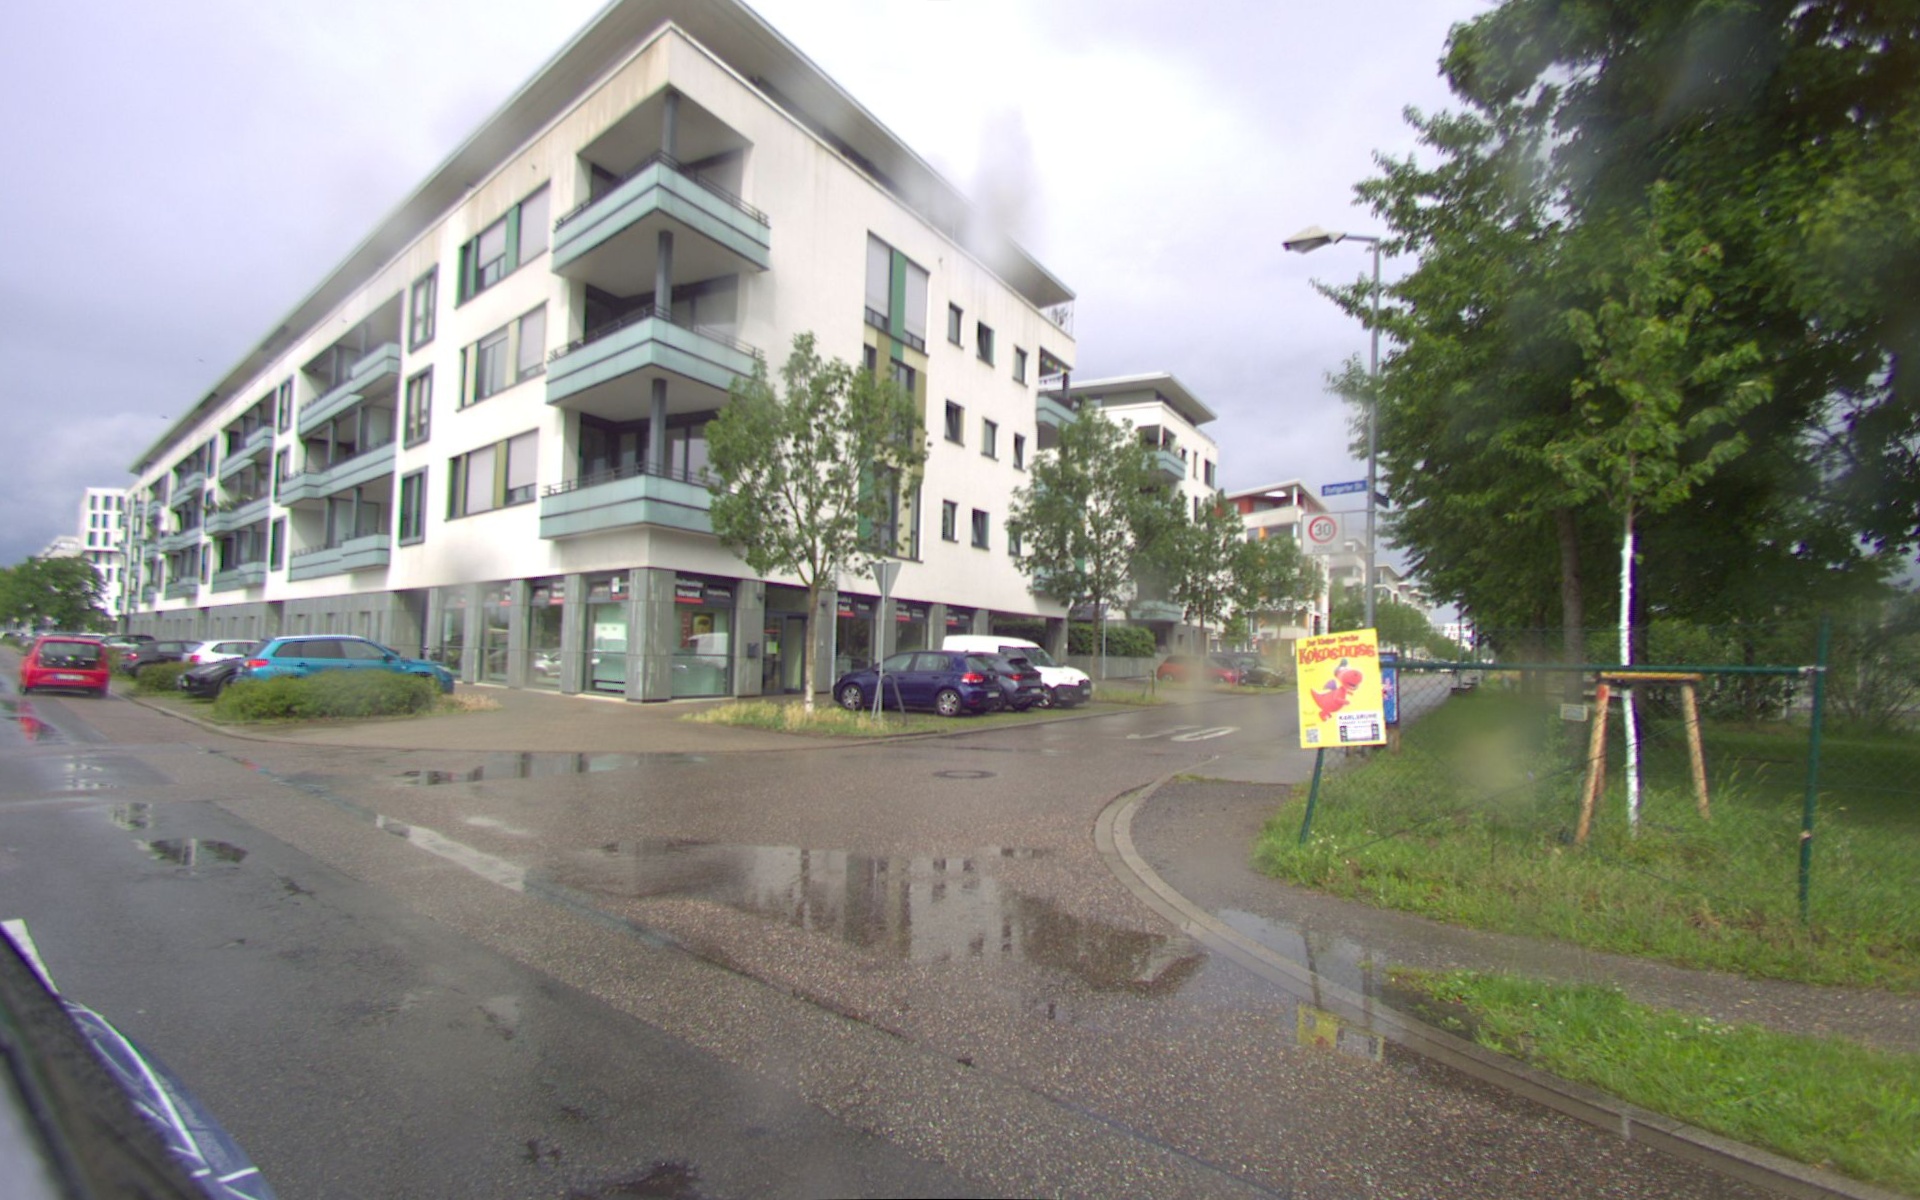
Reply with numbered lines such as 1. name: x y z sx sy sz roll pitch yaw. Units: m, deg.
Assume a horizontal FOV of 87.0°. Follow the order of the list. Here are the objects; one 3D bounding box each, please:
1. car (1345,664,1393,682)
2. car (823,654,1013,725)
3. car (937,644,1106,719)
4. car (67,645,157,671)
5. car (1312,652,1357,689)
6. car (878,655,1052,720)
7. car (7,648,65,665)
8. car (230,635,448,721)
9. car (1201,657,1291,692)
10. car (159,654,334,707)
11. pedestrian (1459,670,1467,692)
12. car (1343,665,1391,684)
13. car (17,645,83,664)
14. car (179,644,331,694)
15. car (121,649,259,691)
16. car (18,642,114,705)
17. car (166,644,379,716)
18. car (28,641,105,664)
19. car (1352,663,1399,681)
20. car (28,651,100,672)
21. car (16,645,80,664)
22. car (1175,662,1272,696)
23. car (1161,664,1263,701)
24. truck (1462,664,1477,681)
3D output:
1. car: 39.704 7.087 98.216 4.165 1.547 1.628 0 -2 28
2. car: -1.004 2.022 23.554 4.168 1.407 1.628 0 -2 28
3. car: 1.669 2.175 27.777 4.329 1.849 1.628 0 -2 28
4. car: -48.278 3.271 57.651 1.745 1.381 3.746 -2 -2 44
5. car: 28.887 5.339 78.011 1.960 2.634 6.567 0 -2 32
6. car: 0.108 2.149 25.531 4.109 1.407 1.673 0 -2 28
7. car: -82.621 5.011 90.519 1.745 1.381 3.746 -2 -2 44
8. car: -13.396 1.613 21.949 3.765 1.646 1.757 1 -2 -43
9. car: 14.462 3.753 51.263 4.165 1.547 1.628 0 -2 28
10. car: -18.853 2.082 26.835 1.540 1.192 3.564 -2 -2 44
11. pedestrian: 38.791 6.237 78.079 0.509 1.677 0.489 -1 -4 30
12. car: 38.622 7.049 96.061 4.165 1.547 1.628 0 -2 28
13. car: -71.947 4.263 80.035 1.745 1.381 3.746 -2 -2 44
14. car: -21.947 2.109 31.578 1.686 1.388 3.618 -4 -3 42
15. car: -27.295 2.456 35.953 1.645 1.383 3.688 -2 -3 45
16. car: -22.629 1.834 25.627 1.637 1.479 3.393 5 -5 -42
17. car: -17.086 1.928 25.295 1.860 1.561 4.125 -2 -2 44
18. car: -59.258 3.444 67.144 1.745 1.381 3.746 -2 -2 44
19. car: 41.162 7.118 100.265 4.165 1.547 1.628 0 -2 28
20. car: -64.699 4.401 73.106 1.745 1.381 3.746 -2 -2 44
21. car: -73.678 4.390 81.787 1.745 1.381 3.746 -2 -2 44
22. car: 12.354 3.675 47.524 4.165 1.407 1.628 0 -2 28
23. car: 11.153 3.617 44.851 4.165 1.407 1.628 0 -2 28
24. truck: 81.374 11.547 161.678 1.967 2.371 6.394 -1 -2 27
